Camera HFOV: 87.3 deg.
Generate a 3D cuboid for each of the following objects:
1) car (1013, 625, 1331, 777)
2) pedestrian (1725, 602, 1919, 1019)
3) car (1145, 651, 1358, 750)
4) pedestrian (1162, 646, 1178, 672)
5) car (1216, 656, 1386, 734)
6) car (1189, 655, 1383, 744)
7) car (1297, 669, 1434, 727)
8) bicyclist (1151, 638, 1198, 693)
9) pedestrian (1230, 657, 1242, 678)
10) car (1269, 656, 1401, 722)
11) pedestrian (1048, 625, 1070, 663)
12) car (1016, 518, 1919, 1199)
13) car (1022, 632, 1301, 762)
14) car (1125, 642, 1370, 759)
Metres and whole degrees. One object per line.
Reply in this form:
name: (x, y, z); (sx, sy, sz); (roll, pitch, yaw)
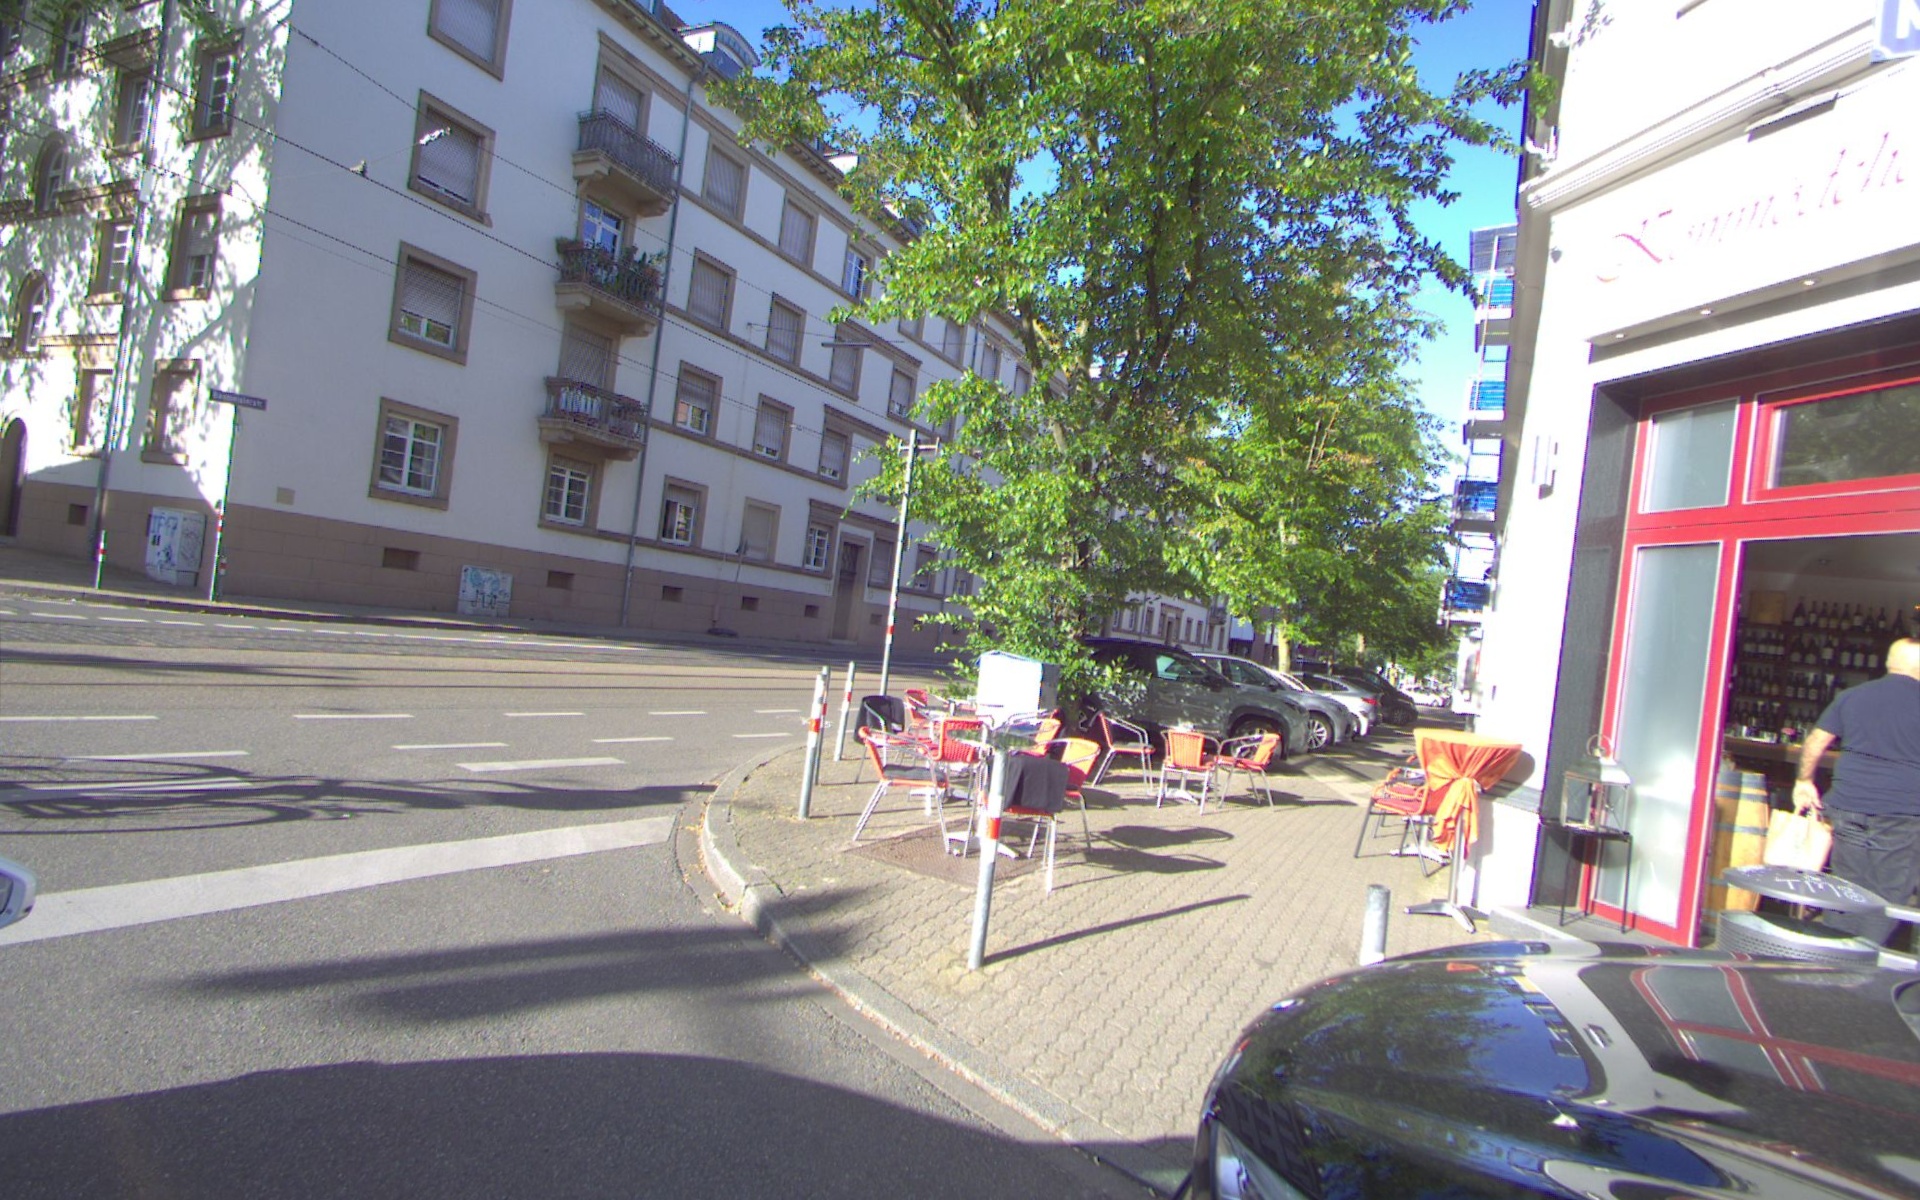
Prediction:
car: (2.866, 1.356, 14.247); (4.057, 1.575, 1.621); (6, 0, 4)
pedestrian: (4.596, 0.980, 4.918); (0.839, 1.821, 0.861); (8, 0, -17)
car: (6.093, 2.063, 21.315); (4.057, 1.506, 1.621); (6, 0, 14)
pedestrian: (15.469, 4.346, 74.151); (0.725, 1.859, 0.696); (8, 0, 27)
car: (9.098, 2.478, 26.909); (4.060, 1.506, 1.620); (6, 0, 22)
car: (7.530, 2.278, 23.608); (4.057, 1.506, 1.621); (6, 0, 13)
car: (14.206, 3.432, 35.375); (4.061, 1.506, 1.619); (6, 0, -5)
bicyclist: (6.348, 1.942, 29.712); (0.886, 1.471, 1.262); (8, 0, 28)
pedestrian: (26.065, 6.415, 95.082); (0.725, 1.859, 0.696); (8, 0, 27)
car: (13.995, 3.303, 37.650); (4.061, 1.911, 1.888); (6, 0, -5)
pedestrian: (5.159, 2.300, 52.509); (0.725, 1.859, 0.696); (8, 0, 27)
car: (2.260, 1.038, 0.941); (4.129, 1.681, 1.764); (7, -2, 33)
car: (3.208, 1.547, 16.450); (4.061, 1.575, 1.619); (6, 0, -5)
car: (5.181, 1.793, 18.603); (4.056, 1.575, 1.621); (6, 0, 8)
